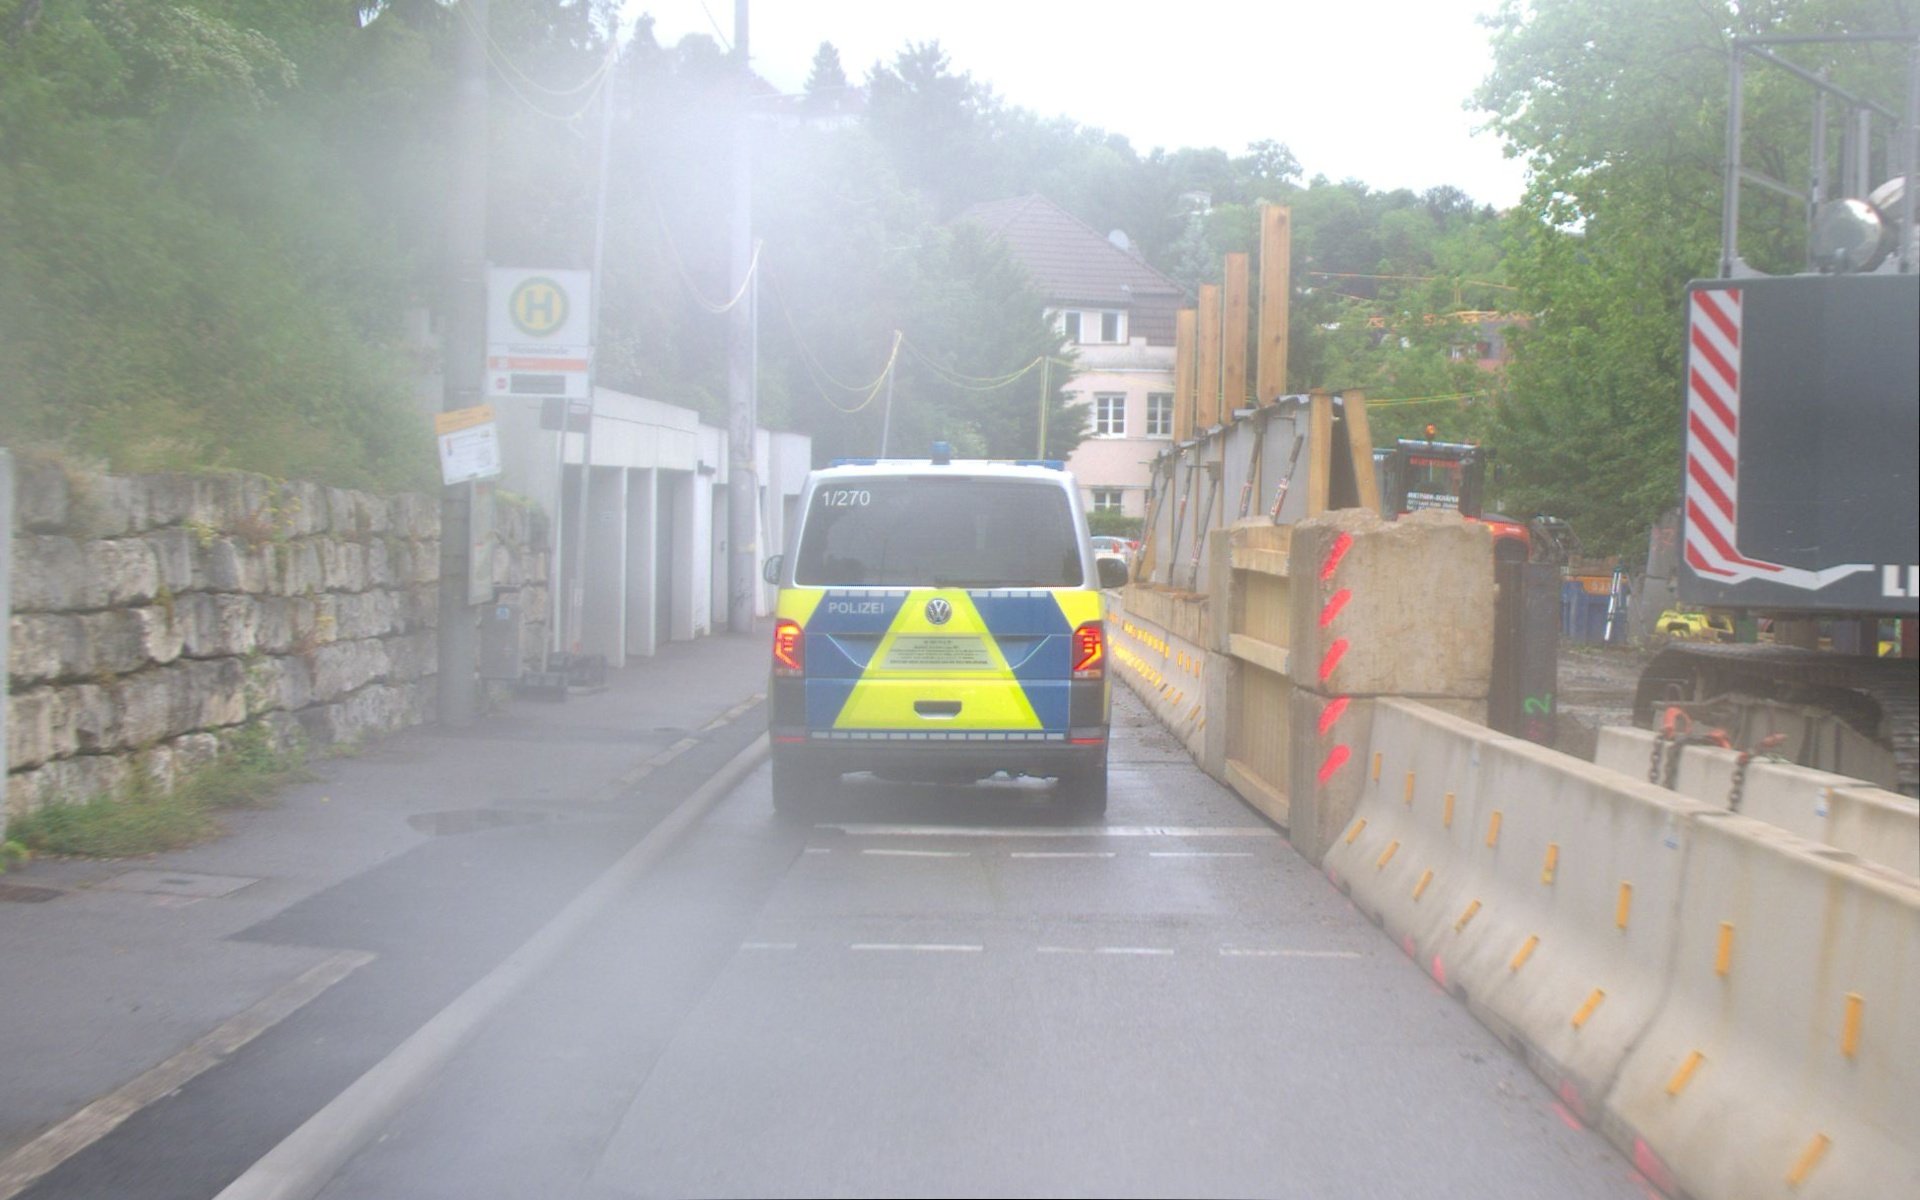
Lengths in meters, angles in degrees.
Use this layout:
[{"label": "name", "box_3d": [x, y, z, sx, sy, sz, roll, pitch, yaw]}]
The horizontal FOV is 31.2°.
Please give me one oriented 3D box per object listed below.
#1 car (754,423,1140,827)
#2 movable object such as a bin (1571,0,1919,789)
[{"label": "car", "box_3d": [-0.075, 0.127, 20.152, 1.908, 2.003, 4.439, 3, 0, 0]}, {"label": "movable object such as a bin", "box_3d": [6.058, -1.699, 17.347, 3.688, 5.049, 7.151, 1, 0, 29]}]
